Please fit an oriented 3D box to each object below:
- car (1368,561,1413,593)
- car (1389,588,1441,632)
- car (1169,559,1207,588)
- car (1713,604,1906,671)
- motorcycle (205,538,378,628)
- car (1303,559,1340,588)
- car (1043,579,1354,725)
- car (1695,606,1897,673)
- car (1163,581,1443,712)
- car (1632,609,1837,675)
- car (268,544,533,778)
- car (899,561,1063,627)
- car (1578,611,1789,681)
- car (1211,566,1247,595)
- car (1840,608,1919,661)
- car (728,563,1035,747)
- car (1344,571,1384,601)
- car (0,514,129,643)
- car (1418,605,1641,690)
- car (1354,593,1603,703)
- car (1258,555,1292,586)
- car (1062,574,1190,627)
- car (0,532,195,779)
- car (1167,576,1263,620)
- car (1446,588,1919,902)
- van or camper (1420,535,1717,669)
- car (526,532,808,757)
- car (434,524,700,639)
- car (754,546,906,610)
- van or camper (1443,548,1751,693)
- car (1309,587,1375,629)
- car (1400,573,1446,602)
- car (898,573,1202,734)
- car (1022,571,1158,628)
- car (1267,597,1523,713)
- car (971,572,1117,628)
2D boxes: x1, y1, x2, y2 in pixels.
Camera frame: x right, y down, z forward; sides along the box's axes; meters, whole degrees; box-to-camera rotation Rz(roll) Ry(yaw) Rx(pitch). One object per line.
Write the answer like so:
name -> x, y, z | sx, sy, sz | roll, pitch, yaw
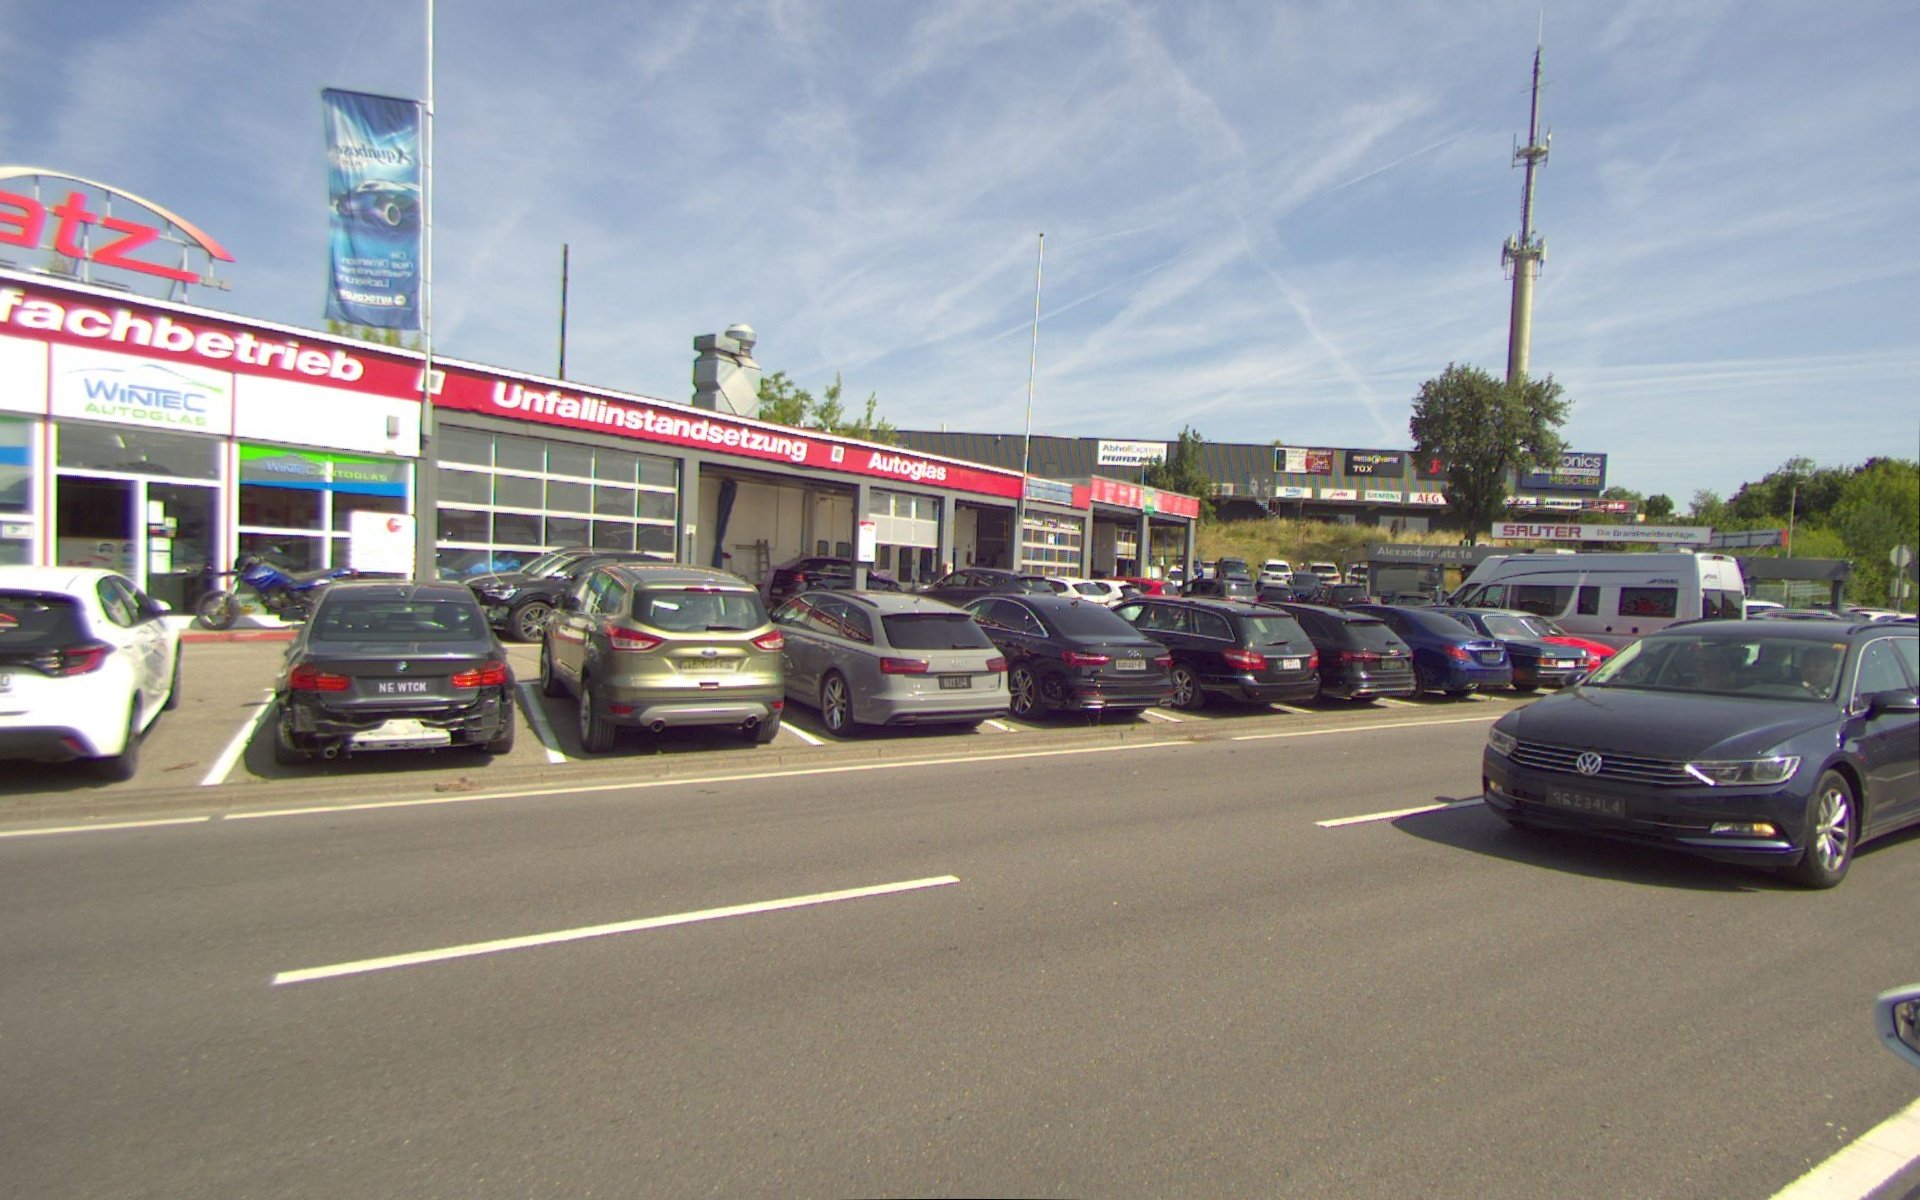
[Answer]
car -> 21.693, -1.129, 50.722 | 1.702, 1.470, 3.749 | 3, 1, 18
car -> 17.982, 0.389, 39.659 | 1.736, 1.609, 3.825 | 2, 0, 26
car -> 13.029, -1.504, 57.316 | 1.702, 1.470, 3.749 | 3, 1, 18
car -> 24.050, 1.017, 28.564 | 1.822, 1.698, 3.796 | 1, 1, -32
motorcycle -> -10.103, -0.232, 15.255 | 0.760, 1.278, 2.046 | 2, 0, 38
car -> 19.940, -1.438, 55.468 | 1.702, 1.470, 3.749 | 3, 1, 18
car -> 3.296, 0.626, 14.829 | 1.752, 1.505, 4.433 | 1, 5, -32
car -> 22.351, 1.005, 26.988 | 1.822, 1.560, 3.796 | 1, 0, -32
car -> 5.239, 0.630, 15.814 | 1.782, 1.505, 3.822 | 1, 5, -32
car -> 19.887, 1.036, 25.935 | 1.822, 1.468, 3.796 | 1, 0, -32
car -> -5.249, 0.381, 9.338 | 1.773, 1.546, 3.686 | 1, 5, -32
car -> 0.502, -0.176, 25.844 | 3.886, 1.553, 1.763 | 2, 1, 36
car -> 17.683, 1.067, 24.719 | 1.822, 1.468, 3.796 | 1, 0, -32
car -> 15.219, -1.092, 56.674 | 1.702, 1.470, 3.749 | 3, 1, 18
car -> 33.225, 1.201, 34.483 | 2.089, 1.716, 4.528 | 2, 0, 1
car -> -1.137, 0.483, 11.901 | 1.816, 1.505, 4.252 | 1, 5, -32
car -> 21.953, -0.739, 54.664 | 1.702, 1.470, 3.749 | 3, 1, 18
car -> -14.544, -0.353, 14.381 | 1.676, 1.782, 3.750 | 6, 3, 34
car -> 11.557, 0.903, 20.597 | 1.791, 1.500, 3.577 | 1, 0, -30
car -> 9.493, 0.801, 18.656 | 1.689, 1.505, 3.686 | 1, 5, -32
car -> 17.589, -1.625, 56.080 | 1.702, 1.558, 3.749 | 3, 1, 18
car -> 5.432, -0.014, 33.013 | 3.767, 1.609, 1.763 | 2, 1, 36
car -> -7.654, 0.292, 8.246 | 1.826, 1.546, 3.773 | 1, 4, -32
car -> 10.052, -0.106, 39.858 | 1.744, 1.609, 3.807 | 1, 0, -23
car -> 5.522, 0.765, 6.971 | 4.337, 1.580, 1.797 | 1, 0, -31
van or camper -> 14.785, -0.037, 24.885 | 2.263, 2.912, 5.862 | 0, 2, -31
car -> -3.218, 0.283, 10.448 | 1.787, 1.740, 3.863 | 1, 5, -32
car -> -7.016, -0.280, 18.317 | 1.797, 1.696, 4.116 | 9, 4, 34
car -> -3.676, -0.593, 28.834 | 3.987, 1.694, 1.887 | 1, 1, -44
van or camper -> 13.627, 0.335, 21.915 | 2.184, 2.768, 5.220 | 1, 1, -29
car -> 15.698, 0.303, 41.410 | 1.733, 1.609, 3.831 | 2, 0, 9
car -> 24.678, -0.648, 53.669 | 1.702, 1.470, 3.749 | 3, 1, 18
car -> 1.005, 0.570, 13.474 | 1.779, 1.505, 4.273 | 1, 5, -32
car -> 3.978, -0.036, 30.937 | 3.767, 1.609, 1.763 | 2, 1, 36
car -> 7.311, 0.828, 17.219 | 1.689, 1.577, 3.686 | 0, 3, -32
car -> 2.347, -0.009, 28.453 | 3.767, 1.451, 1.763 | 2, 1, 36
